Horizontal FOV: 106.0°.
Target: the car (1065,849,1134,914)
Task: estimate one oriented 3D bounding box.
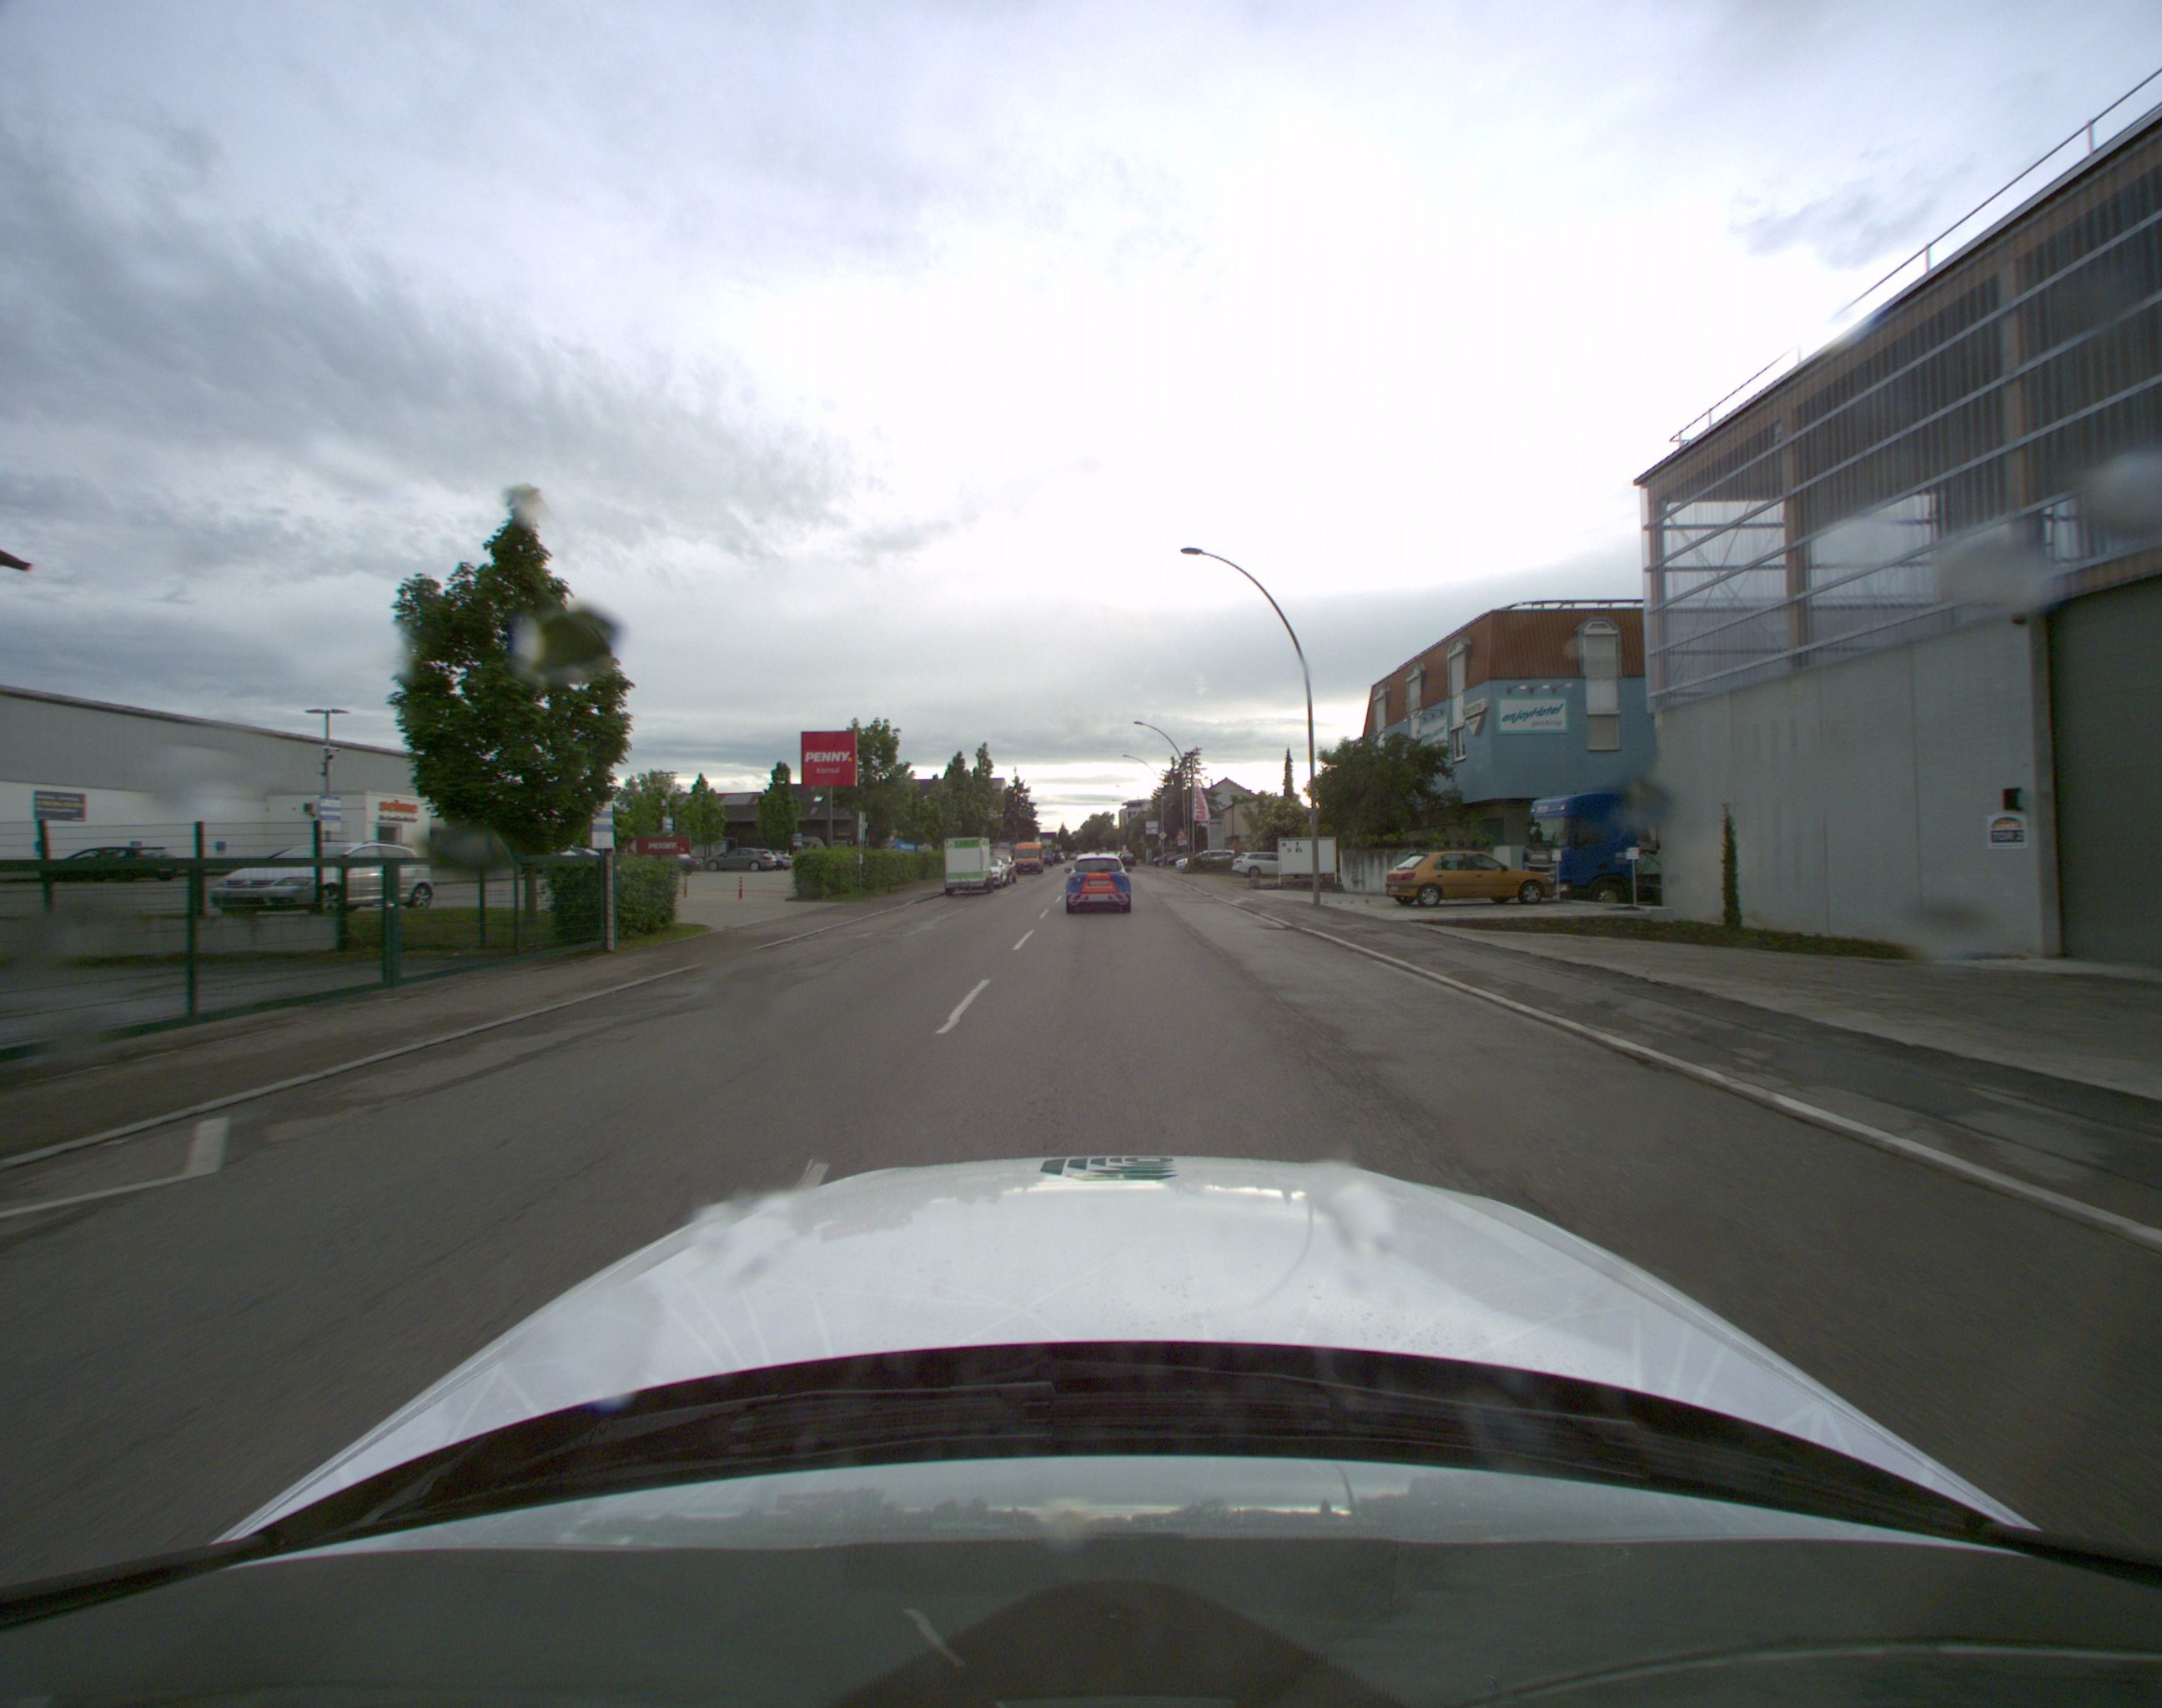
[{"bbox_3d":[0.472,0.718,22.496,1.726,1.631,3.494,-1,-1,0],"label":"car"}]

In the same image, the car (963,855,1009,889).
[{"bbox_3d":[-4.610,0.861,40.049,1.766,1.498,4.137,-1,1,0],"label":"car"}]

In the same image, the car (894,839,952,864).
[{"bbox_3d":[-12.871,-0.187,66.559,4.291,2.014,2.063,0,-1,1],"label":"car"}]

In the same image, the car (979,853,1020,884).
[{"bbox_3d":[-4.514,0.767,45.671,1.799,1.573,4.342,-1,0,0],"label":"car"}]

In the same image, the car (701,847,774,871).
[{"bbox_3d":[-22.907,0.310,54.382,4.046,1.551,1.883,0,-1,-4],"label":"car"}]

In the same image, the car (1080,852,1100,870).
[{"bbox_3d":[0.776,0.617,73.014,1.645,1.522,3.998,0,-1,-1],"label":"car"}]

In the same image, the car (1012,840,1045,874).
[{"bbox_3d":[-4.144,0.228,65.259,2.117,2.537,6.021,-1,0,0],"label":"car"}]

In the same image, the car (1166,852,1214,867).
[{"bbox_3d":[9.379,0.517,70.436,3.971,1.266,1.952,0,-1,2],"label":"car"}]

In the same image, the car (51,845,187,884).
[{"bbox_3d":[-40.200,0.437,34.097,3.712,1.606,1.660,0,-1,1],"label":"car"}]

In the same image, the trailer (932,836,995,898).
[{"bbox_3d":[-4.843,0.495,34.128,1.807,2.314,4.730,-3,0,0],"label":"trailer"}]

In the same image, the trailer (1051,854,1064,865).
[{"bbox_3d":[-3.310,0.747,114.565,1.712,1.260,5.242,0,2,-1],"label":"trailer"}]

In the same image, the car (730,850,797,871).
[{"bbox_3d":[-23.150,0.478,59.482,4.038,1.477,1.919,0,-1,2],"label":"car"}]

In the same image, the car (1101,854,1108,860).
[{"bbox_3d":[6.332,0.882,221.757,1.645,1.483,3.998,0,-1,-1],"label":"car"}]

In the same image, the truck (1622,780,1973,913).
[{"bbox_3d":[21.632,-0.199,24.874,8.510,3.707,2.721,1,-1,-2],"label":"truck"}]

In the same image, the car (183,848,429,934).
[{"bbox_3d":[-16.097,0.702,17.250,1.643,1.587,4.036,-1,0,-6],"label":"car"}]

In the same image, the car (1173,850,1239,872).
[{"bbox_3d":[8.751,0.488,57.207,4.324,1.475,1.902,0,-1,0],"label":"car"}]

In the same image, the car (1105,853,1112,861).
[{"bbox_3d":[6.407,0.696,189.820,1.645,1.671,3.998,0,-1,-1],"label":"car"}]

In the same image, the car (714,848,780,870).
[{"bbox_3d":[-23.322,0.345,56.992,3.882,1.520,1.692,0,-1,-4],"label":"car"}]

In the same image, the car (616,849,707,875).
[{"bbox_3d":[-22.908,0.435,44.574,3.969,1.387,1.801,0,-1,-4],"label":"car"}]

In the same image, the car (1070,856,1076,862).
[{"bbox_3d":[-1.896,1.174,200.599,1.382,1.483,3.782,-1,0,-1],"label":"car"}]

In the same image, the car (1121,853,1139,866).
[{"bbox_3d":[5.260,0.582,87.494,1.585,1.341,4.091,0,0,-1],"label":"car"}]

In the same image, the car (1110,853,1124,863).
[{"bbox_3d":[5.257,0.649,119.394,1.707,1.438,4.523,0,0,-1],"label":"car"}]

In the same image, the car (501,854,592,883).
[{"bbox_3d":[-29.110,0.771,44.402,3.884,1.496,1.452,-1,1,-6],"label":"car"}]

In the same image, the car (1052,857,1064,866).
[{"bbox_3d":[-3.464,1.119,122.176,1.552,1.433,4.000,0,-1,1],"label":"car"}]

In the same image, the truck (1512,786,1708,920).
[{"bbox_3d":[15.888,-0.015,24.701,4.133,3.673,2.718,2,-1,-2],"label":"truck"}]

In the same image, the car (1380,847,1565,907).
[{"bbox_3d":[9.925,0.571,20.818,3.975,1.430,1.630,-1,0,-1],"label":"car"}]

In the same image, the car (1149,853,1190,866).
[{"bbox_3d":[8.918,0.540,82.116,3.975,1.266,1.950,0,-1,-1],"label":"car"}]

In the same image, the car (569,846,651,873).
[{"bbox_3d":[-29.164,0.347,50.477,3.983,1.606,1.768,0,-1,-7],"label":"car"}]

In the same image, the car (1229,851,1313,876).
[{"bbox_3d":[10.839,0.561,46.647,4.401,1.393,1.879,0,-1,-1],"label":"car"}]

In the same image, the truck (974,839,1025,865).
[{"bbox_3d":[-9.992,-0.256,99.947,5.890,3.073,2.450,0,-1,1],"label":"truck"}]

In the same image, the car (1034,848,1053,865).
[{"bbox_3d":[-4.419,0.271,96.586,1.987,1.947,5.365,0,0,0],"label":"car"}]
